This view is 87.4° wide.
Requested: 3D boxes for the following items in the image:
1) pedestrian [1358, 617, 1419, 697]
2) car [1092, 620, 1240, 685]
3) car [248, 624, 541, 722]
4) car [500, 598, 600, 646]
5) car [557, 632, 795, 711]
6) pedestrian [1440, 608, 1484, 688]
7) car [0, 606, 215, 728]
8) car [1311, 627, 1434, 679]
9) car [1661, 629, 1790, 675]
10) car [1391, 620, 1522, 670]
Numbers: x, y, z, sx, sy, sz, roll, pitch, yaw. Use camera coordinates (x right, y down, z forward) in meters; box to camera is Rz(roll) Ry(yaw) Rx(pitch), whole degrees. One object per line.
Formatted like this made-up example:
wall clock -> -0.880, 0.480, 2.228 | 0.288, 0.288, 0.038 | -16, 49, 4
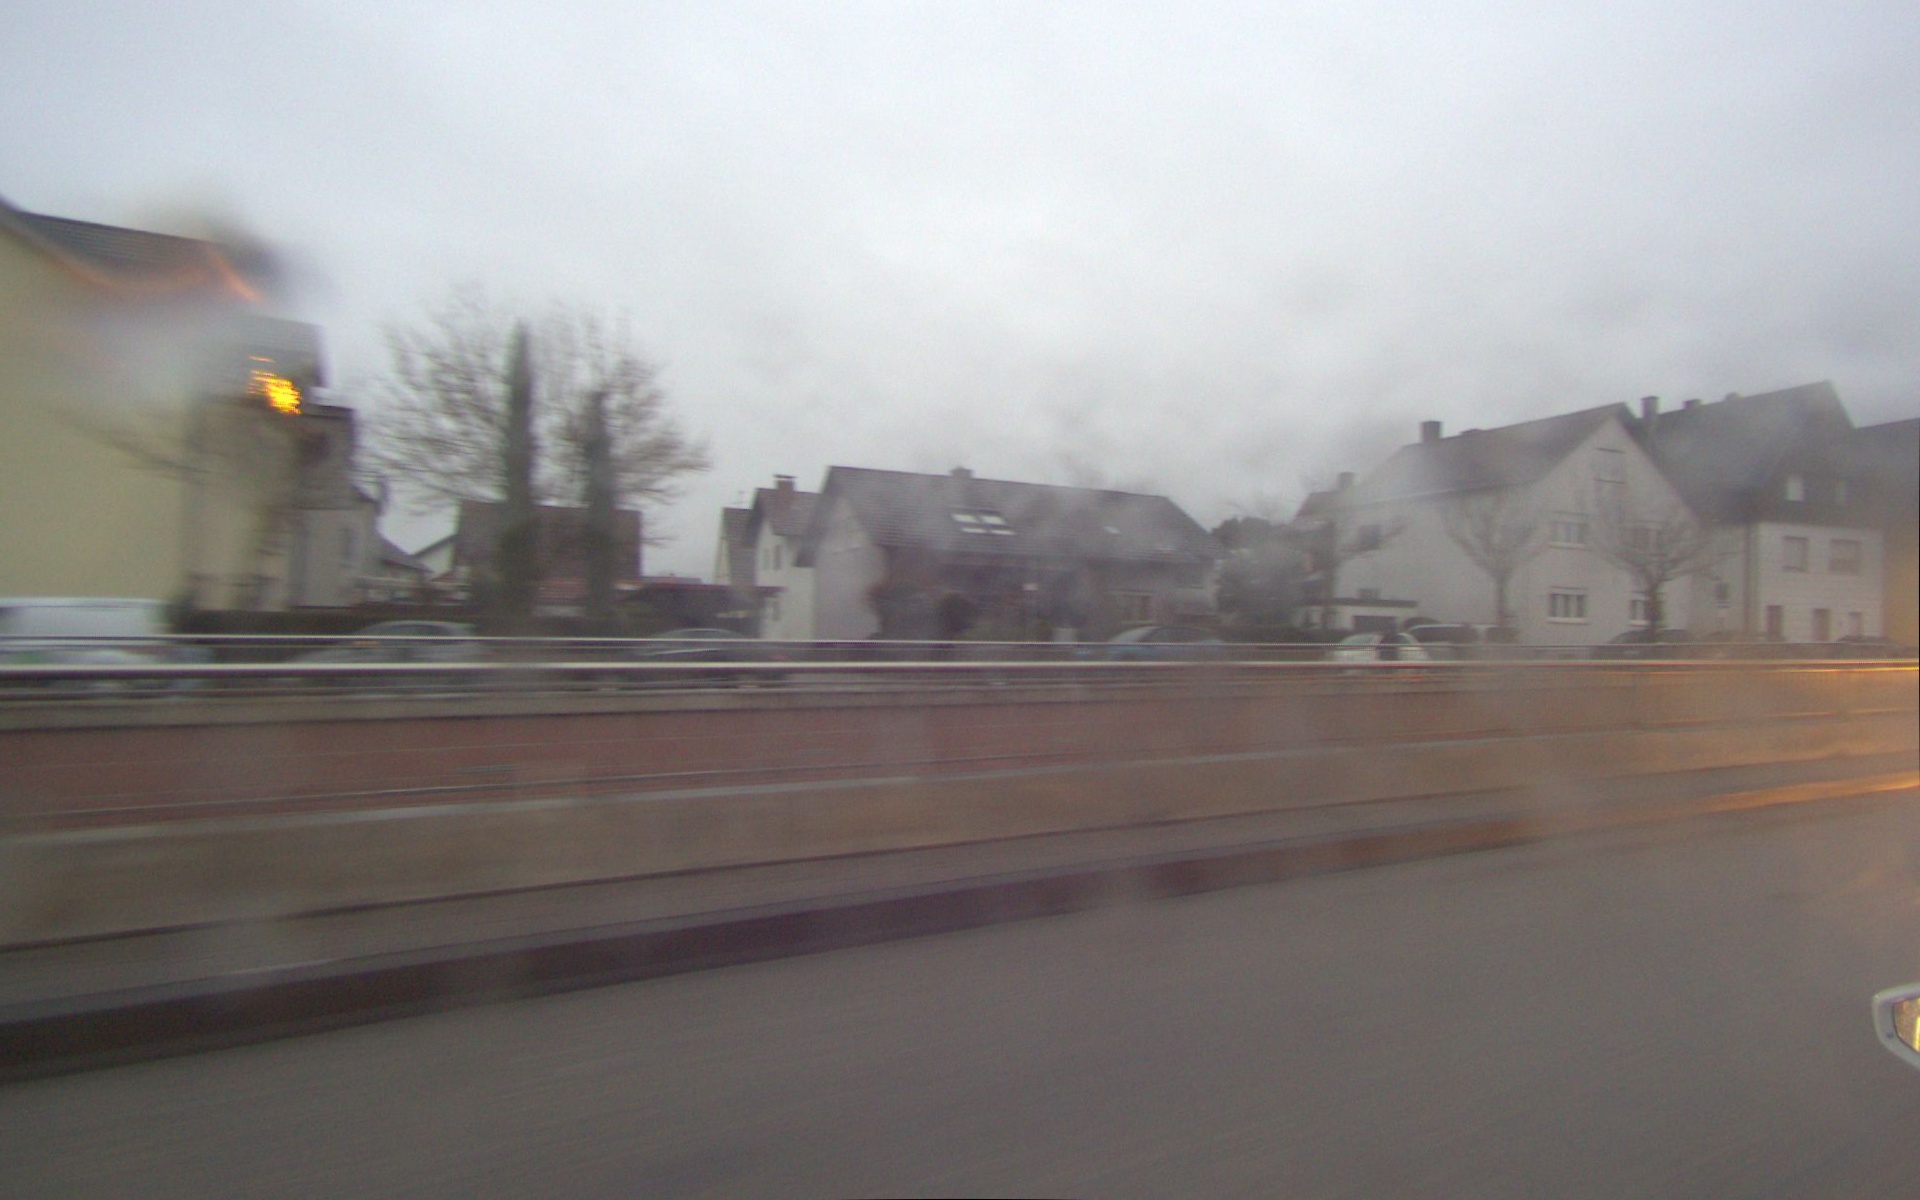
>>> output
pedestrian -> 10.113, 1.321, 23.715 | 0.961, 1.808, 0.924 | 1, 0, -29
car -> 5.472, 1.398, 26.595 | 3.775, 1.601, 1.558 | 2, -4, -30
car -> -10.154, 1.267, 18.365 | 4.447, 1.593, 1.866 | 1, -3, -30
car -> -18.800, 1.007, 46.067 | 3.955, 2.040, 1.983 | 2, 0, -31
car -> -5.818, 1.415, 20.700 | 4.447, 1.452, 1.866 | 1, -3, -30
pedestrian -> 11.031, 1.040, 22.062 | 0.533, 1.720, 0.662 | 1, 0, -23
car -> -14.521, 1.027, 15.684 | 4.450, 1.802, 1.864 | 1, -3, -32
car -> 12.248, 1.559, 29.837 | 3.412, 1.446, 1.478 | 2, -1, -25
car -> 28.009, 1.863, 36.779 | 4.155, 1.583, 1.907 | 1, -1, -22
car -> 18.024, 1.648, 36.639 | 1.840, 1.716, 3.974 | 1, -3, -26
